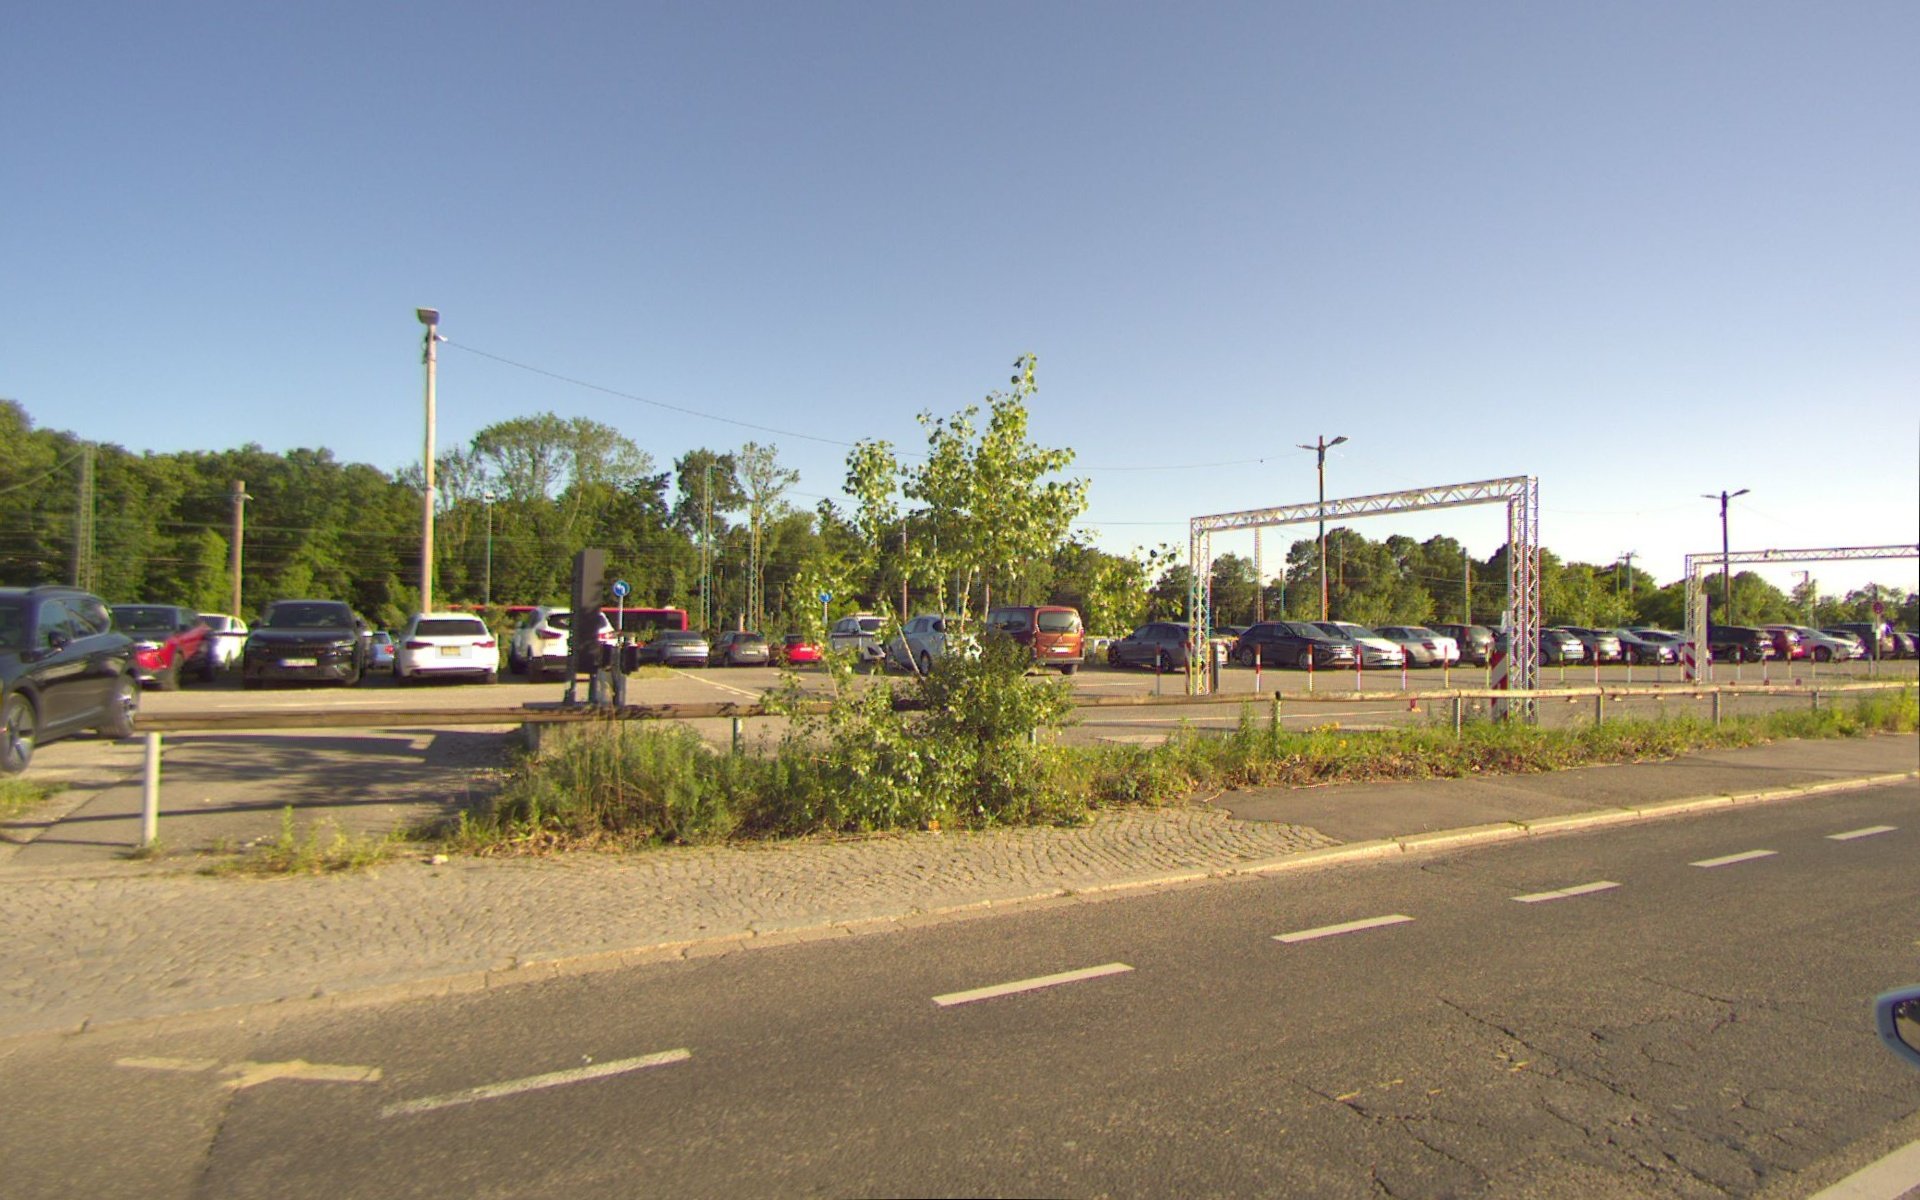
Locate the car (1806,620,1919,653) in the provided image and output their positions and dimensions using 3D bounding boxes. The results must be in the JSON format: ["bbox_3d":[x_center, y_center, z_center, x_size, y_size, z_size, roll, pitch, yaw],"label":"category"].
[{"bbox_3d":[47.781,1.909,53.129,1.854,1.639,4.305,1,-1,-27],"label":"car"}]

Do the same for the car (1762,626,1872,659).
[{"bbox_3d":[43.114,2.105,50.611,1.854,1.540,3.868,1,-1,-27],"label":"car"}]

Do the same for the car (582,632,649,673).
[{"bbox_3d":[-13.337,2.003,38.751,1.912,1.501,3.594,1,-2,-28],"label":"car"}]

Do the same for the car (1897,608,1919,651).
[{"bbox_3d":[56.979,1.716,57.137,2.290,2.492,4.908,1,-1,-27],"label":"car"}]

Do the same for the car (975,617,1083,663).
[{"bbox_3d":[2.287,1.317,34.198,1.871,1.485,3.971,1,-1,-28],"label":"car"}]

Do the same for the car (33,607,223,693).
[{"bbox_3d":[-15.293,0.878,18.720,2.025,1.415,4.140,1,-2,-30],"label":"car"}]

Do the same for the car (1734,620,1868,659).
[{"bbox_3d":[40.681,1.883,48.711,2.029,1.764,4.570,1,-1,-23],"label":"car"}]

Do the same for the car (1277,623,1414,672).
[{"bbox_3d":[13.078,1.568,34.363,1.853,1.544,4.307,1,-1,-26],"label":"car"}]

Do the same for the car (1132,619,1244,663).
[{"bbox_3d":[8.530,1.505,37.978,1.853,1.544,4.307,1,-1,-26],"label":"car"}]

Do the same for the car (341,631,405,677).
[{"bbox_3d":[-20.518,1.860,35.209,1.704,1.501,3.594,1,-2,-27],"label":"car"}]

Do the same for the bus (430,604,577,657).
[{"bbox_3d":[-21.525,1.463,47.544,6.122,2.379,2.531,1,-2,-26],"label":"bus"}]

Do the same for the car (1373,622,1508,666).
[{"bbox_3d":[17.610,1.570,37.051,1.853,1.482,4.307,1,-1,-26],"label":"car"}]

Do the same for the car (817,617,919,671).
[{"bbox_3d":[-2.994,1.328,31.786,1.833,1.566,4.353,1,-1,-26],"label":"car"}]

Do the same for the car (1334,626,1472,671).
[{"bbox_3d":[15.552,1.658,35.471,1.853,1.412,4.307,1,-1,-26],"label":"car"}]

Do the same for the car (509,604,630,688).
[{"bbox_3d":[-8.770,0.974,22.359,1.943,1.684,4.142,1,-2,-29],"label":"car"}]

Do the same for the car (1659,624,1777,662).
[{"bbox_3d":[34.273,1.908,45.502,1.854,1.625,3.868,1,-1,-27],"label":"car"}]

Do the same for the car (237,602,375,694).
[{"bbox_3d":[-12.757,0.893,19.838,2.025,1.599,4.140,1,-2,-30],"label":"car"}]

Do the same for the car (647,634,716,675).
[{"bbox_3d":[-10.856,2.081,39.019,1.912,1.501,3.594,1,-2,-28],"label":"car"}]

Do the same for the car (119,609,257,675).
[{"bbox_3d":[-18.091,0.953,23.744,2.025,1.415,4.140,1,-2,-30],"label":"car"}]

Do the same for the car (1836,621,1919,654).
[{"bbox_3d":[50.141,1.998,53.981,1.854,1.639,4.305,1,-1,-27],"label":"car"}]

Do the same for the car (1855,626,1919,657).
[{"bbox_3d":[52.329,2.294,55.336,1.854,1.639,4.191,1,-1,-27],"label":"car"}]

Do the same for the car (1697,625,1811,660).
[{"bbox_3d":[37.880,1.996,48.005,1.854,1.540,3.868,1,-1,-27],"label":"car"}]

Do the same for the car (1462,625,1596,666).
[{"bbox_3d":[22.275,1.737,39.487,1.854,1.438,4.305,1,-1,-27],"label":"car"}]

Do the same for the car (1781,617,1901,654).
[{"bbox_3d":[45.406,1.809,51.847,1.854,1.815,4.305,1,-1,-27],"label":"car"}]

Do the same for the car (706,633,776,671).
[{"bbox_3d":[-8.993,2.087,41.009,1.912,1.501,3.594,1,-2,-28],"label":"car"}]

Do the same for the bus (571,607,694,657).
[{"bbox_3d":[-16.335,1.587,50.116,5.515,2.379,2.531,1,-2,-26],"label":"bus"}]

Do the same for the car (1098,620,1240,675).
[{"bbox_3d":[6.244,1.381,30.584,1.963,1.500,4.565,1,-1,-24],"label":"car"}]

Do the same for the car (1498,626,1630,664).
[{"bbox_3d":[24.633,1.798,41.122,1.854,1.438,4.305,1,-1,-27],"label":"car"}]

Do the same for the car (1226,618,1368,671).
[{"bbox_3d":[11.087,1.421,33.375,1.833,1.606,4.561,1,-1,-26],"label":"car"}]

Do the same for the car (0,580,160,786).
[{"bbox_3d":[-9.700,0.705,9.753,2.021,1.692,4.415,1,-2,-25],"label":"car"}]

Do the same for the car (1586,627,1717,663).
[{"bbox_3d":[29.527,1.901,43.023,1.854,1.394,4.305,1,-1,-27],"label":"car"}]

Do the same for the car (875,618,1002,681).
[{"bbox_3d":[-0.686,1.291,27.607,1.833,1.566,4.353,1,-1,-26],"label":"car"}]

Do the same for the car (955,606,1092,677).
[{"bbox_3d":[1.665,1.099,28.160,1.833,1.829,4.561,1,-1,-26],"label":"car"}]

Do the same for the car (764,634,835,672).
[{"bbox_3d":[-6.768,2.179,42.155,1.912,1.501,3.594,1,-2,-28],"label":"car"}]

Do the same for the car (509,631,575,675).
[{"bbox_3d":[-15.353,1.899,36.793,1.912,1.501,3.594,1,-2,-28],"label":"car"}]

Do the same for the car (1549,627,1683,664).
[{"bbox_3d":[27.107,1.842,41.651,1.854,1.394,4.305,1,-1,-27],"label":"car"}]

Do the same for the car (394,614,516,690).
[{"bbox_3d":[-10.663,1.023,21.040,2.025,1.415,4.140,1,-2,-30],"label":"car"}]
